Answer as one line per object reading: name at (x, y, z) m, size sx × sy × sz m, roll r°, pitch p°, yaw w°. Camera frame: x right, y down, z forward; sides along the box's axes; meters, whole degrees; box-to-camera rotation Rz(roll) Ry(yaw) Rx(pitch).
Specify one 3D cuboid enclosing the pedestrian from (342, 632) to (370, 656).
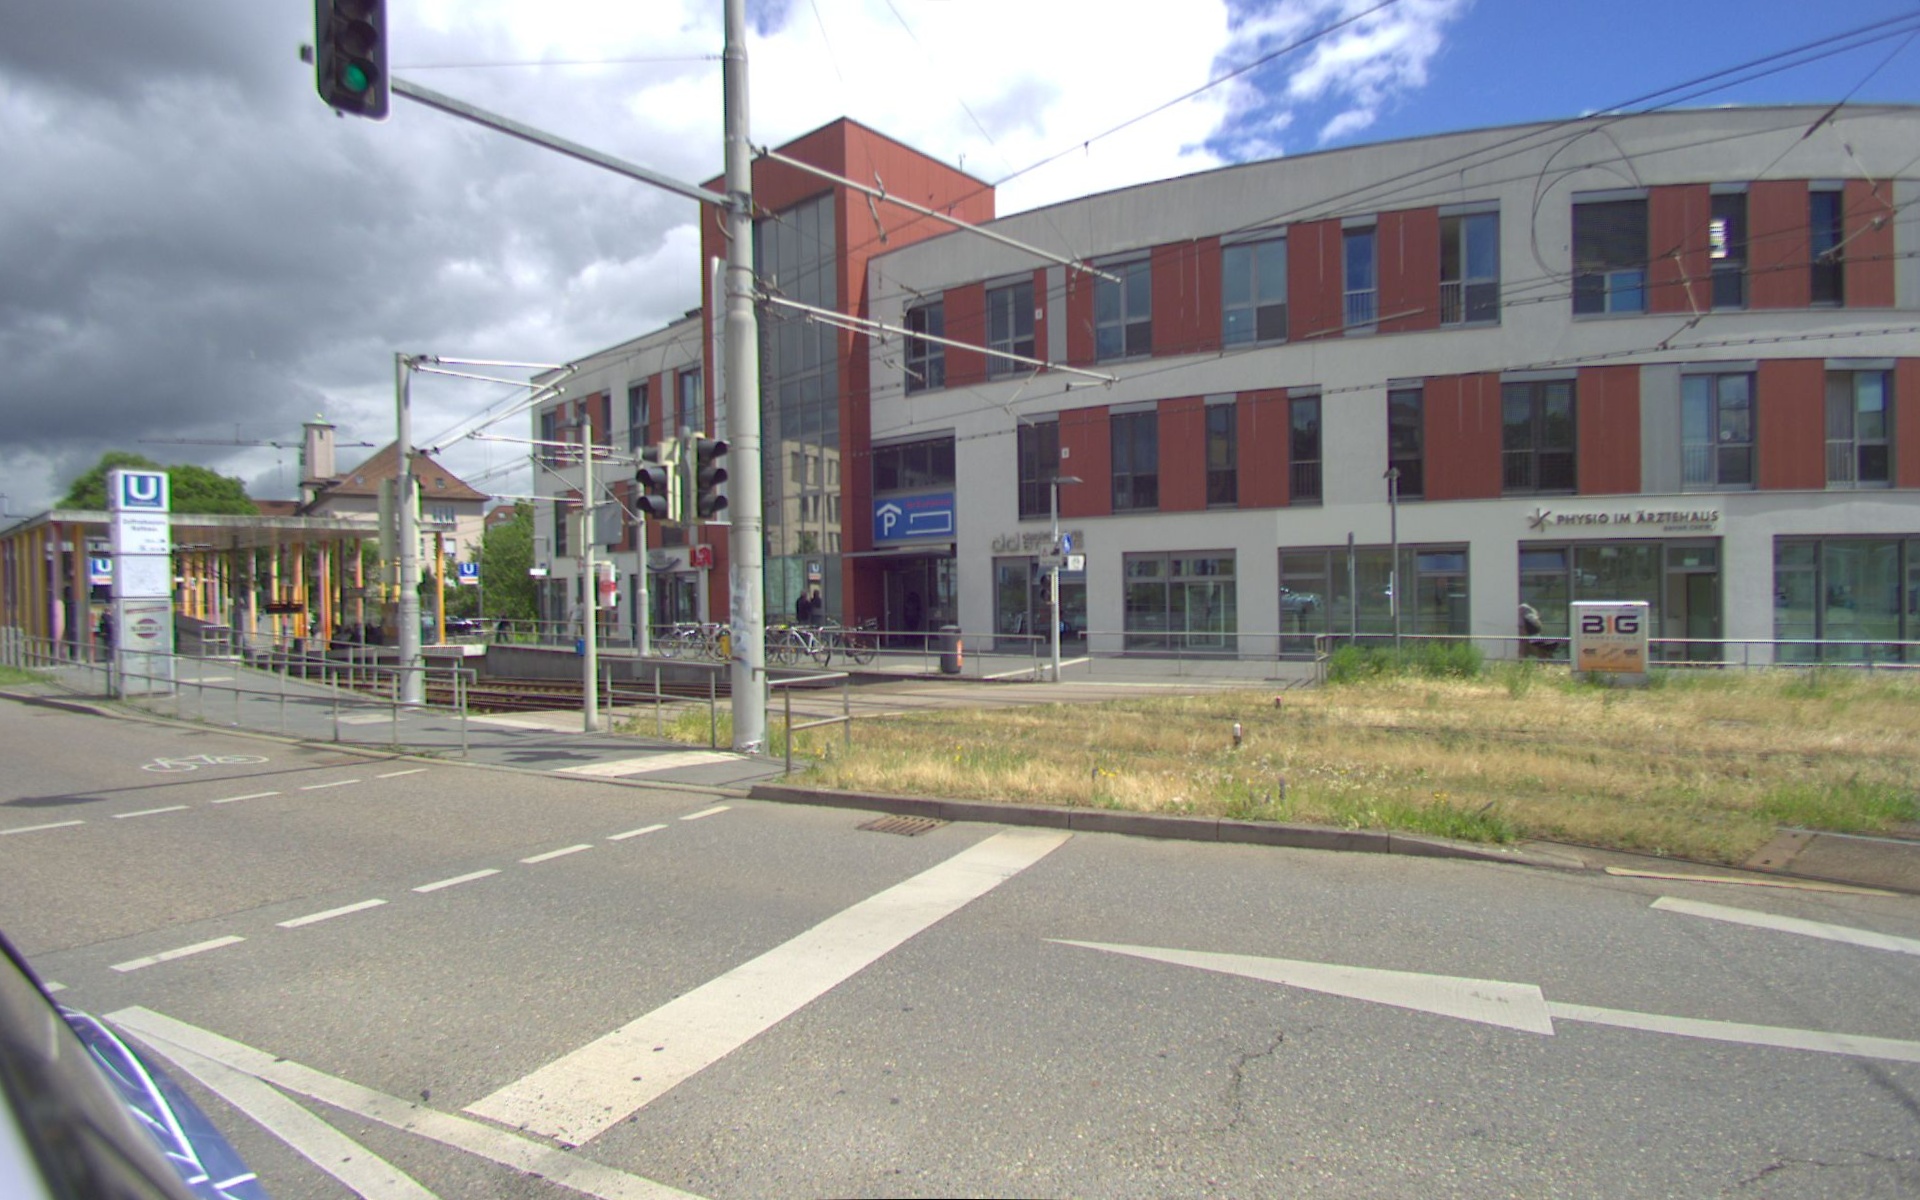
pedestrian at (-29.399, 2.133, 49.267) m, size 0.886 × 1.143 × 0.931 m, roll -2°, pitch -1°, yaw 42°

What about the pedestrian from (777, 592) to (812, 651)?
pedestrian at (-5.313, 0.665, 32.481) m, size 0.856 × 1.859 × 0.876 m, roll 0°, pitch 1°, yaw 13°

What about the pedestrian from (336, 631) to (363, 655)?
pedestrian at (-30.116, 2.135, 49.903) m, size 0.886 × 1.143 × 0.931 m, roll -2°, pitch -1°, yaw 42°

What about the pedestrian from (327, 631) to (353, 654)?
pedestrian at (-31.345, 2.134, 51.187) m, size 0.886 × 1.143 × 0.931 m, roll -2°, pitch -1°, yaw 42°

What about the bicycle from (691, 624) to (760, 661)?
bicycle at (-6.371, 1.151, 27.584) m, size 1.835 × 0.929 × 0.455 m, roll 0°, pitch 0°, yaw -42°

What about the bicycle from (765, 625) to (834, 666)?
bicycle at (-4.057, 1.138, 25.701) m, size 0.454 × 0.942 × 1.837 m, roll -1°, pitch 0°, yaw 43°

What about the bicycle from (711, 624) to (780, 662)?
bicycle at (-5.699, 1.138, 26.984) m, size 1.836 × 0.946 × 0.455 m, roll 0°, pitch 0°, yaw -45°

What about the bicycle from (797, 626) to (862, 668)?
bicycle at (-3.226, 1.138, 25.074) m, size 0.428 × 0.965 × 1.716 m, roll -1°, pitch 0°, yaw 43°

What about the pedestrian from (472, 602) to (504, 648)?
pedestrian at (-20.496, 1.081, 43.960) m, size 1.105 × 1.983 × 0.853 m, roll 0°, pitch -1°, yaw 39°

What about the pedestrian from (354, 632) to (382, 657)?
pedestrian at (-28.550, 2.133, 48.793) m, size 0.886 × 1.143 × 0.931 m, roll -2°, pitch -1°, yaw 42°

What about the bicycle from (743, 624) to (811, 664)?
bicycle at (-4.740, 1.127, 26.336) m, size 0.454 × 0.970 × 1.837 m, roll -1°, pitch 0°, yaw 43°

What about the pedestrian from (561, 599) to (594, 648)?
pedestrian at (-15.661, 0.951, 41.438) m, size 1.106 × 1.983 × 0.852 m, roll 0°, pitch -1°, yaw 43°

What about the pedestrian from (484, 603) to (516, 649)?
pedestrian at (-20.192, 1.122, 44.448) m, size 1.105 × 1.983 × 0.853 m, roll 0°, pitch -1°, yaw 39°

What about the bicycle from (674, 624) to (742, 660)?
bicycle at (-6.984, 1.155, 28.143) m, size 1.835 × 0.939 × 0.455 m, roll 0°, pitch 0°, yaw -41°

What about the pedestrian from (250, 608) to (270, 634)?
pedestrian at (-54.912, 1.648, 79.340) m, size 1.112 × 2.029 × 1.180 m, roll 0°, pitch -2°, yaw -44°

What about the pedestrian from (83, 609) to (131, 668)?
pedestrian at (-28.270, 1.260, 33.537) m, size 0.864 × 1.929 × 1.090 m, roll 0°, pitch -1°, yaw 42°

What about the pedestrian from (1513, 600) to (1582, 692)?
pedestrian at (13.090, 1.006, 22.577) m, size 1.104 × 1.983 × 0.862 m, roll 0°, pitch -1°, yaw 11°

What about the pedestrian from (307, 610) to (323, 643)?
pedestrian at (-40.006, 1.626, 62.772) m, size 0.773 × 2.029 × 0.610 m, roll -2°, pitch -1°, yaw 34°

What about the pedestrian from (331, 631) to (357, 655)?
pedestrian at (-30.806, 2.139, 50.621) m, size 0.886 × 1.143 × 0.931 m, roll -2°, pitch -1°, yaw 42°

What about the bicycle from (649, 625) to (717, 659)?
bicycle at (-7.877, 1.191, 28.831) m, size 1.834 × 0.888 × 0.455 m, roll 0°, pitch 0°, yaw -41°

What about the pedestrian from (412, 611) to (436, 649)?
pedestrian at (-28.566, 1.588, 53.942) m, size 0.852 × 1.983 × 1.107 m, roll 1°, pitch -1°, yaw -44°

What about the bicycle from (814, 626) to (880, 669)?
bicycle at (-2.738, 1.139, 24.671) m, size 0.428 × 0.959 × 1.716 m, roll -1°, pitch 0°, yaw 43°
